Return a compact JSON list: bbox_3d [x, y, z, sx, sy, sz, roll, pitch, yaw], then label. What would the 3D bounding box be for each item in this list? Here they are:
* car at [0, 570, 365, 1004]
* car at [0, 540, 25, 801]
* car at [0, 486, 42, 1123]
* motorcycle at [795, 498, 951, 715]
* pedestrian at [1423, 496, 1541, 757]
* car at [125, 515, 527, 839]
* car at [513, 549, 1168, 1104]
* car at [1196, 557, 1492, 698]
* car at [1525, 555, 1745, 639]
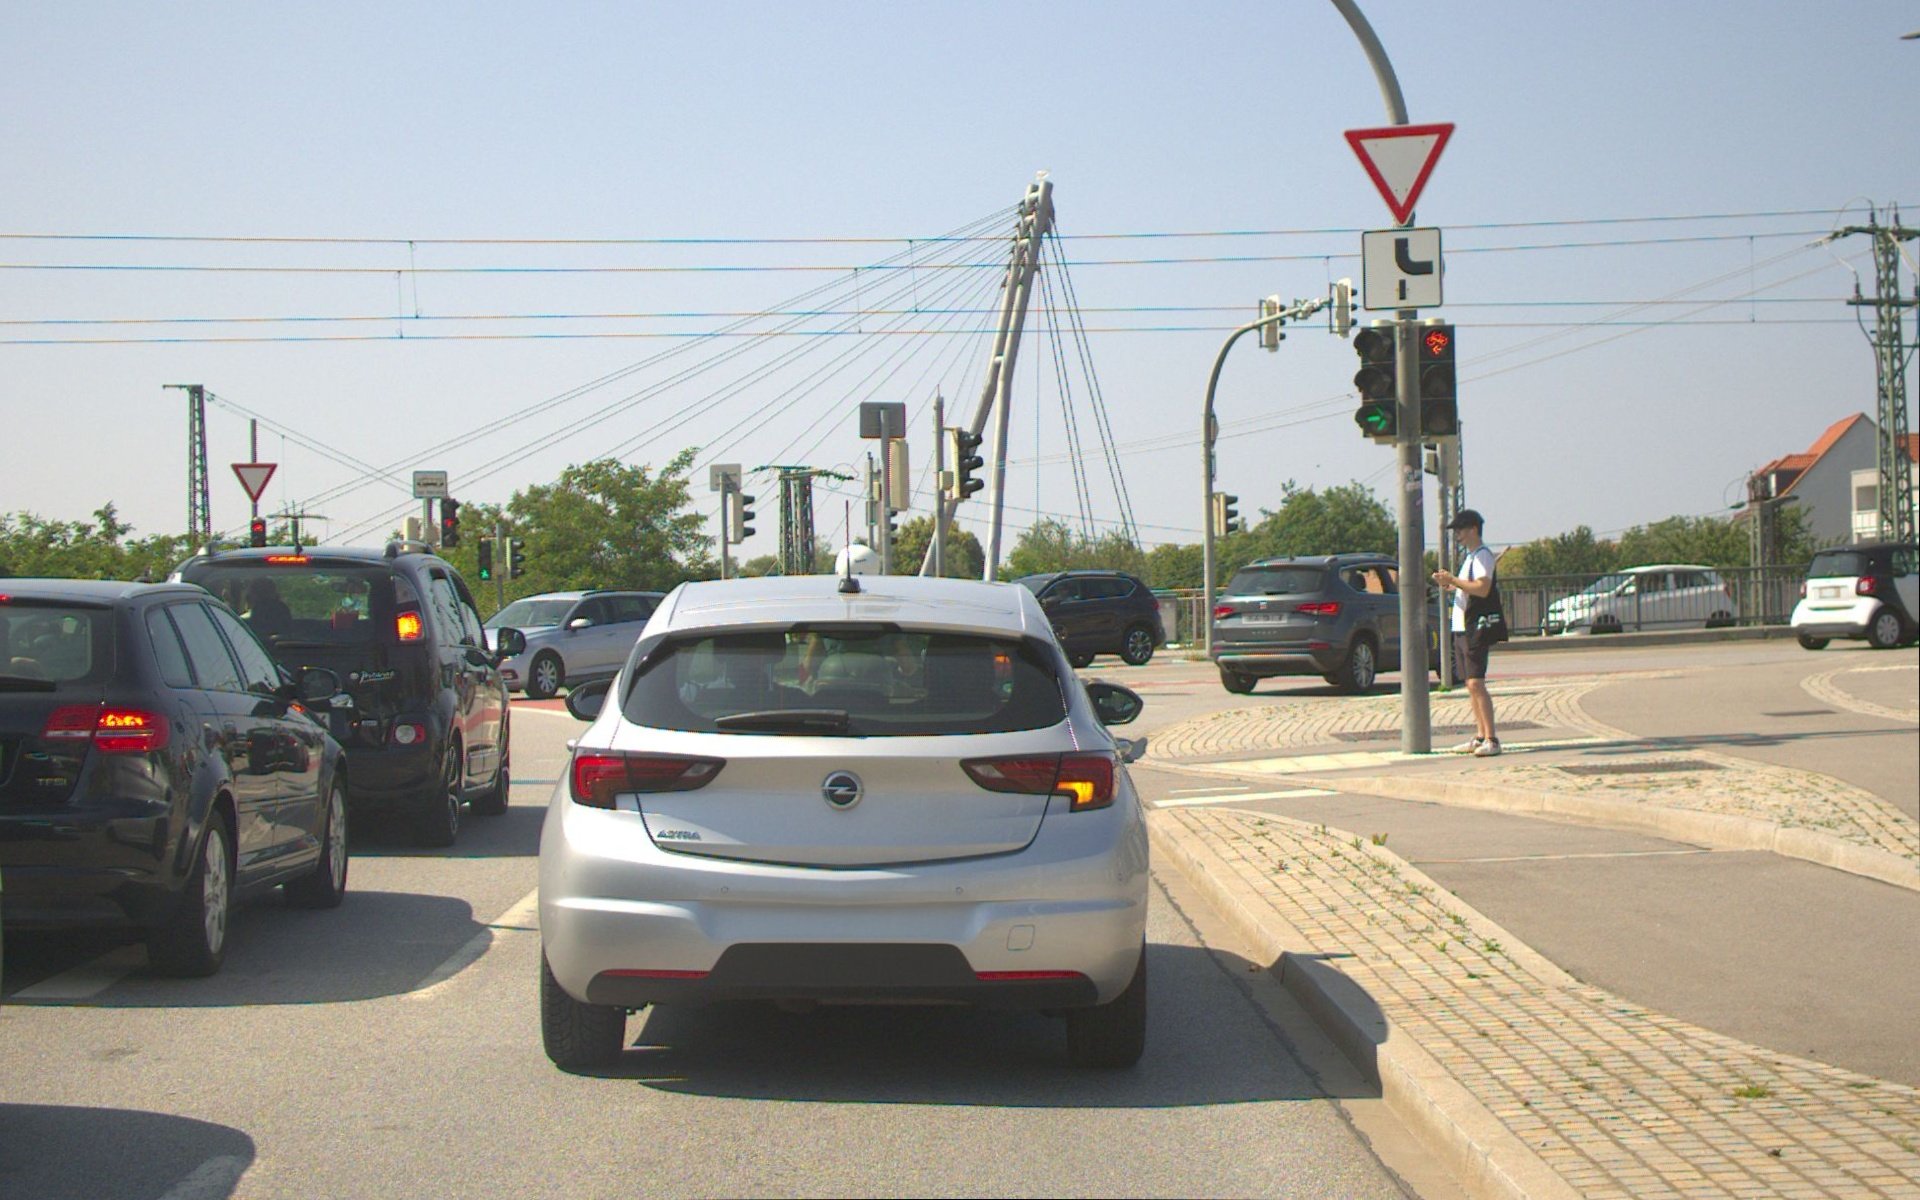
[{"bbox_3d":[-3.408,0.608,13.280,1.575,1.429,3.786,1,0,-1],"label":"car"},{"bbox_3d":[-6.415,0.406,18.938,1.597,1.542,3.763,1,0,-2],"label":"car"},{"bbox_3d":[-3.361,0.516,6.967,1.801,1.636,4.366,1,0,0],"label":"car"},{"bbox_3d":[-0.489,0.067,18.399,0.501,1.010,2.174,-7,-2,-7],"label":"motorcycle"},{"bbox_3d":[3.753,0.188,24.751,0.647,1.830,0.798,-2,0,-2],"label":"pedestrian"},{"bbox_3d":[-3.443,0.386,19.281,1.649,1.610,3.820,1,0,-2],"label":"car"},{"bbox_3d":[-0.398,0.609,11.283,1.743,1.473,4.000,1,0,-2],"label":"car"},{"bbox_3d":[4.602,0.287,40.812,1.727,1.558,3.992,2,1,36],"label":"car"},{"bbox_3d":[12.501,-0.061,63.745,3.623,1.481,1.691,1,0,-19],"label":"car"}]
